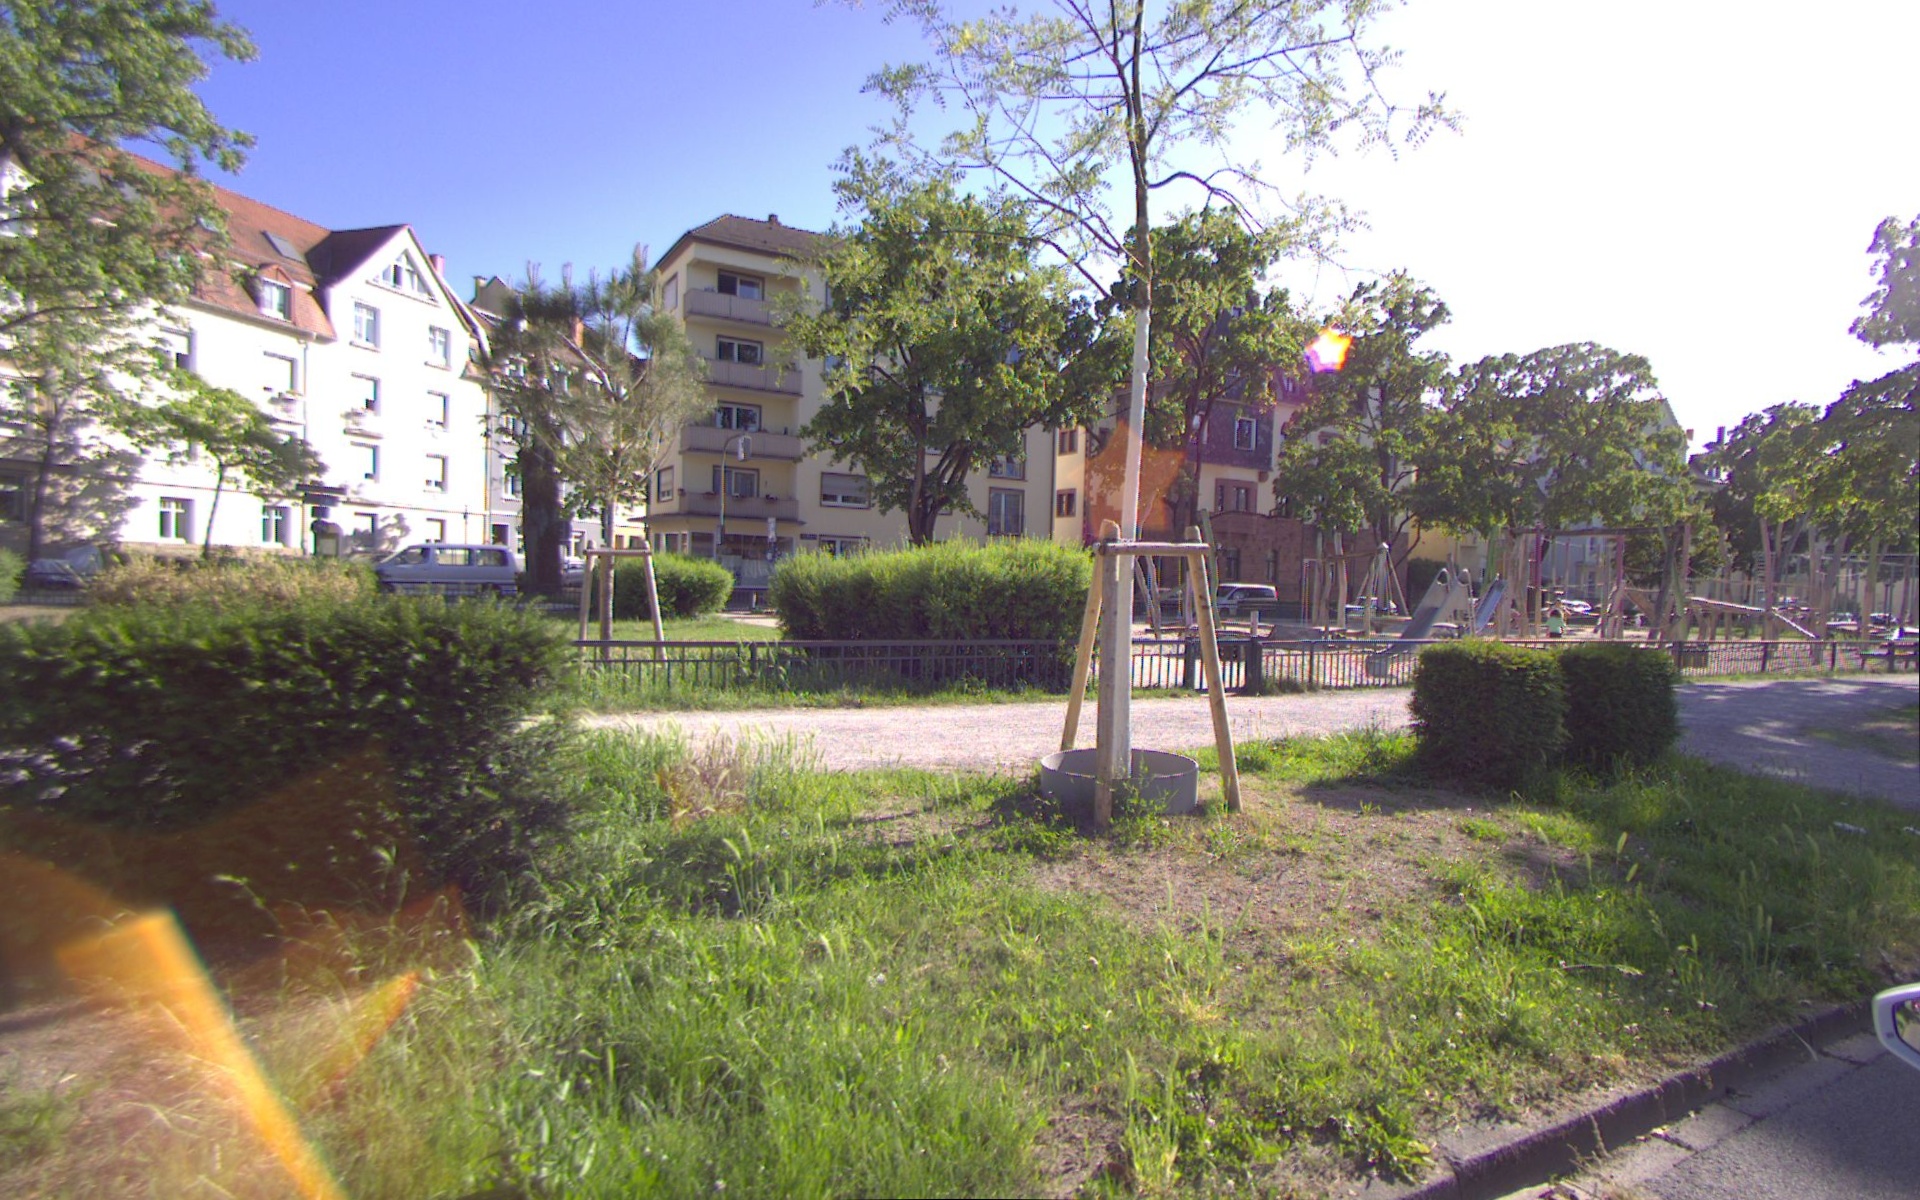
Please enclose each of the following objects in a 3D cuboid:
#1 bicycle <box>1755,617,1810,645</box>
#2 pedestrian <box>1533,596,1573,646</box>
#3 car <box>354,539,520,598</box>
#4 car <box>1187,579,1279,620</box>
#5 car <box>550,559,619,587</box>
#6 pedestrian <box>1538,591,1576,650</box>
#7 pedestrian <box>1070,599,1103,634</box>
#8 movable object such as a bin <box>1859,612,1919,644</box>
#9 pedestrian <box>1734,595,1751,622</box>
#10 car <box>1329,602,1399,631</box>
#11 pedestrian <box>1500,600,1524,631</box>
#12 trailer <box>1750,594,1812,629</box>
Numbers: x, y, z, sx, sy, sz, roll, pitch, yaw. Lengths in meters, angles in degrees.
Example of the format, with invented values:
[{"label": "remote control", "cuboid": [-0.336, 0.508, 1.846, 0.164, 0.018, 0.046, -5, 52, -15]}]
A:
[{"label": "bicycle", "cuboid": [36.529, 1.358, 44.612, 0.494, 1.122, 1.785, 1, 2, -31]}, {"label": "pedestrian", "cuboid": [16.679, 0.584, 28.252, 0.639, 1.347, 0.648, 2, 2, -12]}, {"label": "car", "cuboid": [-16.477, -0.962, 31.770, 4.533, 1.657, 1.785, 1, 2, -30]}, {"label": "car", "cuboid": [14.452, 0.004, 53.167, 4.778, 2.009, 1.785, 1, 2, -30]}, {"label": "car", "cuboid": [-22.638, -1.600, 60.706, 1.764, 1.530, 4.000, 2, 0, 19]}, {"label": "pedestrian", "cuboid": [17.535, 0.592, 29.511, 0.639, 1.684, 0.648, 2, 2, -12]}, {"label": "pedestrian", "cuboid": [3.696, 0.477, 29.347, 0.767, 0.992, 0.540, 1, 2, -22]}, {"label": "movable object such as a bin", "cuboid": [39.728, 1.188, 42.479, 1.045, 1.258, 2.316, 1, 1, -33]}, {"label": "pedestrian", "cuboid": [50.035, 0.563, 64.240, 0.642, 1.683, 0.645, 1, 1, -30]}, {"label": "car", "cuboid": [23.829, 0.980, 59.225, 3.953, 1.530, 1.785, 1, 2, -30]}, {"label": "pedestrian", "cuboid": [24.604, 0.681, 44.776, 0.643, 1.336, 0.644, 1, 2, -33]}, {"label": "trailer", "cuboid": [71.906, 1.042, 87.945, 5.736, 2.909, 2.331, 1, 2, -31]}]
